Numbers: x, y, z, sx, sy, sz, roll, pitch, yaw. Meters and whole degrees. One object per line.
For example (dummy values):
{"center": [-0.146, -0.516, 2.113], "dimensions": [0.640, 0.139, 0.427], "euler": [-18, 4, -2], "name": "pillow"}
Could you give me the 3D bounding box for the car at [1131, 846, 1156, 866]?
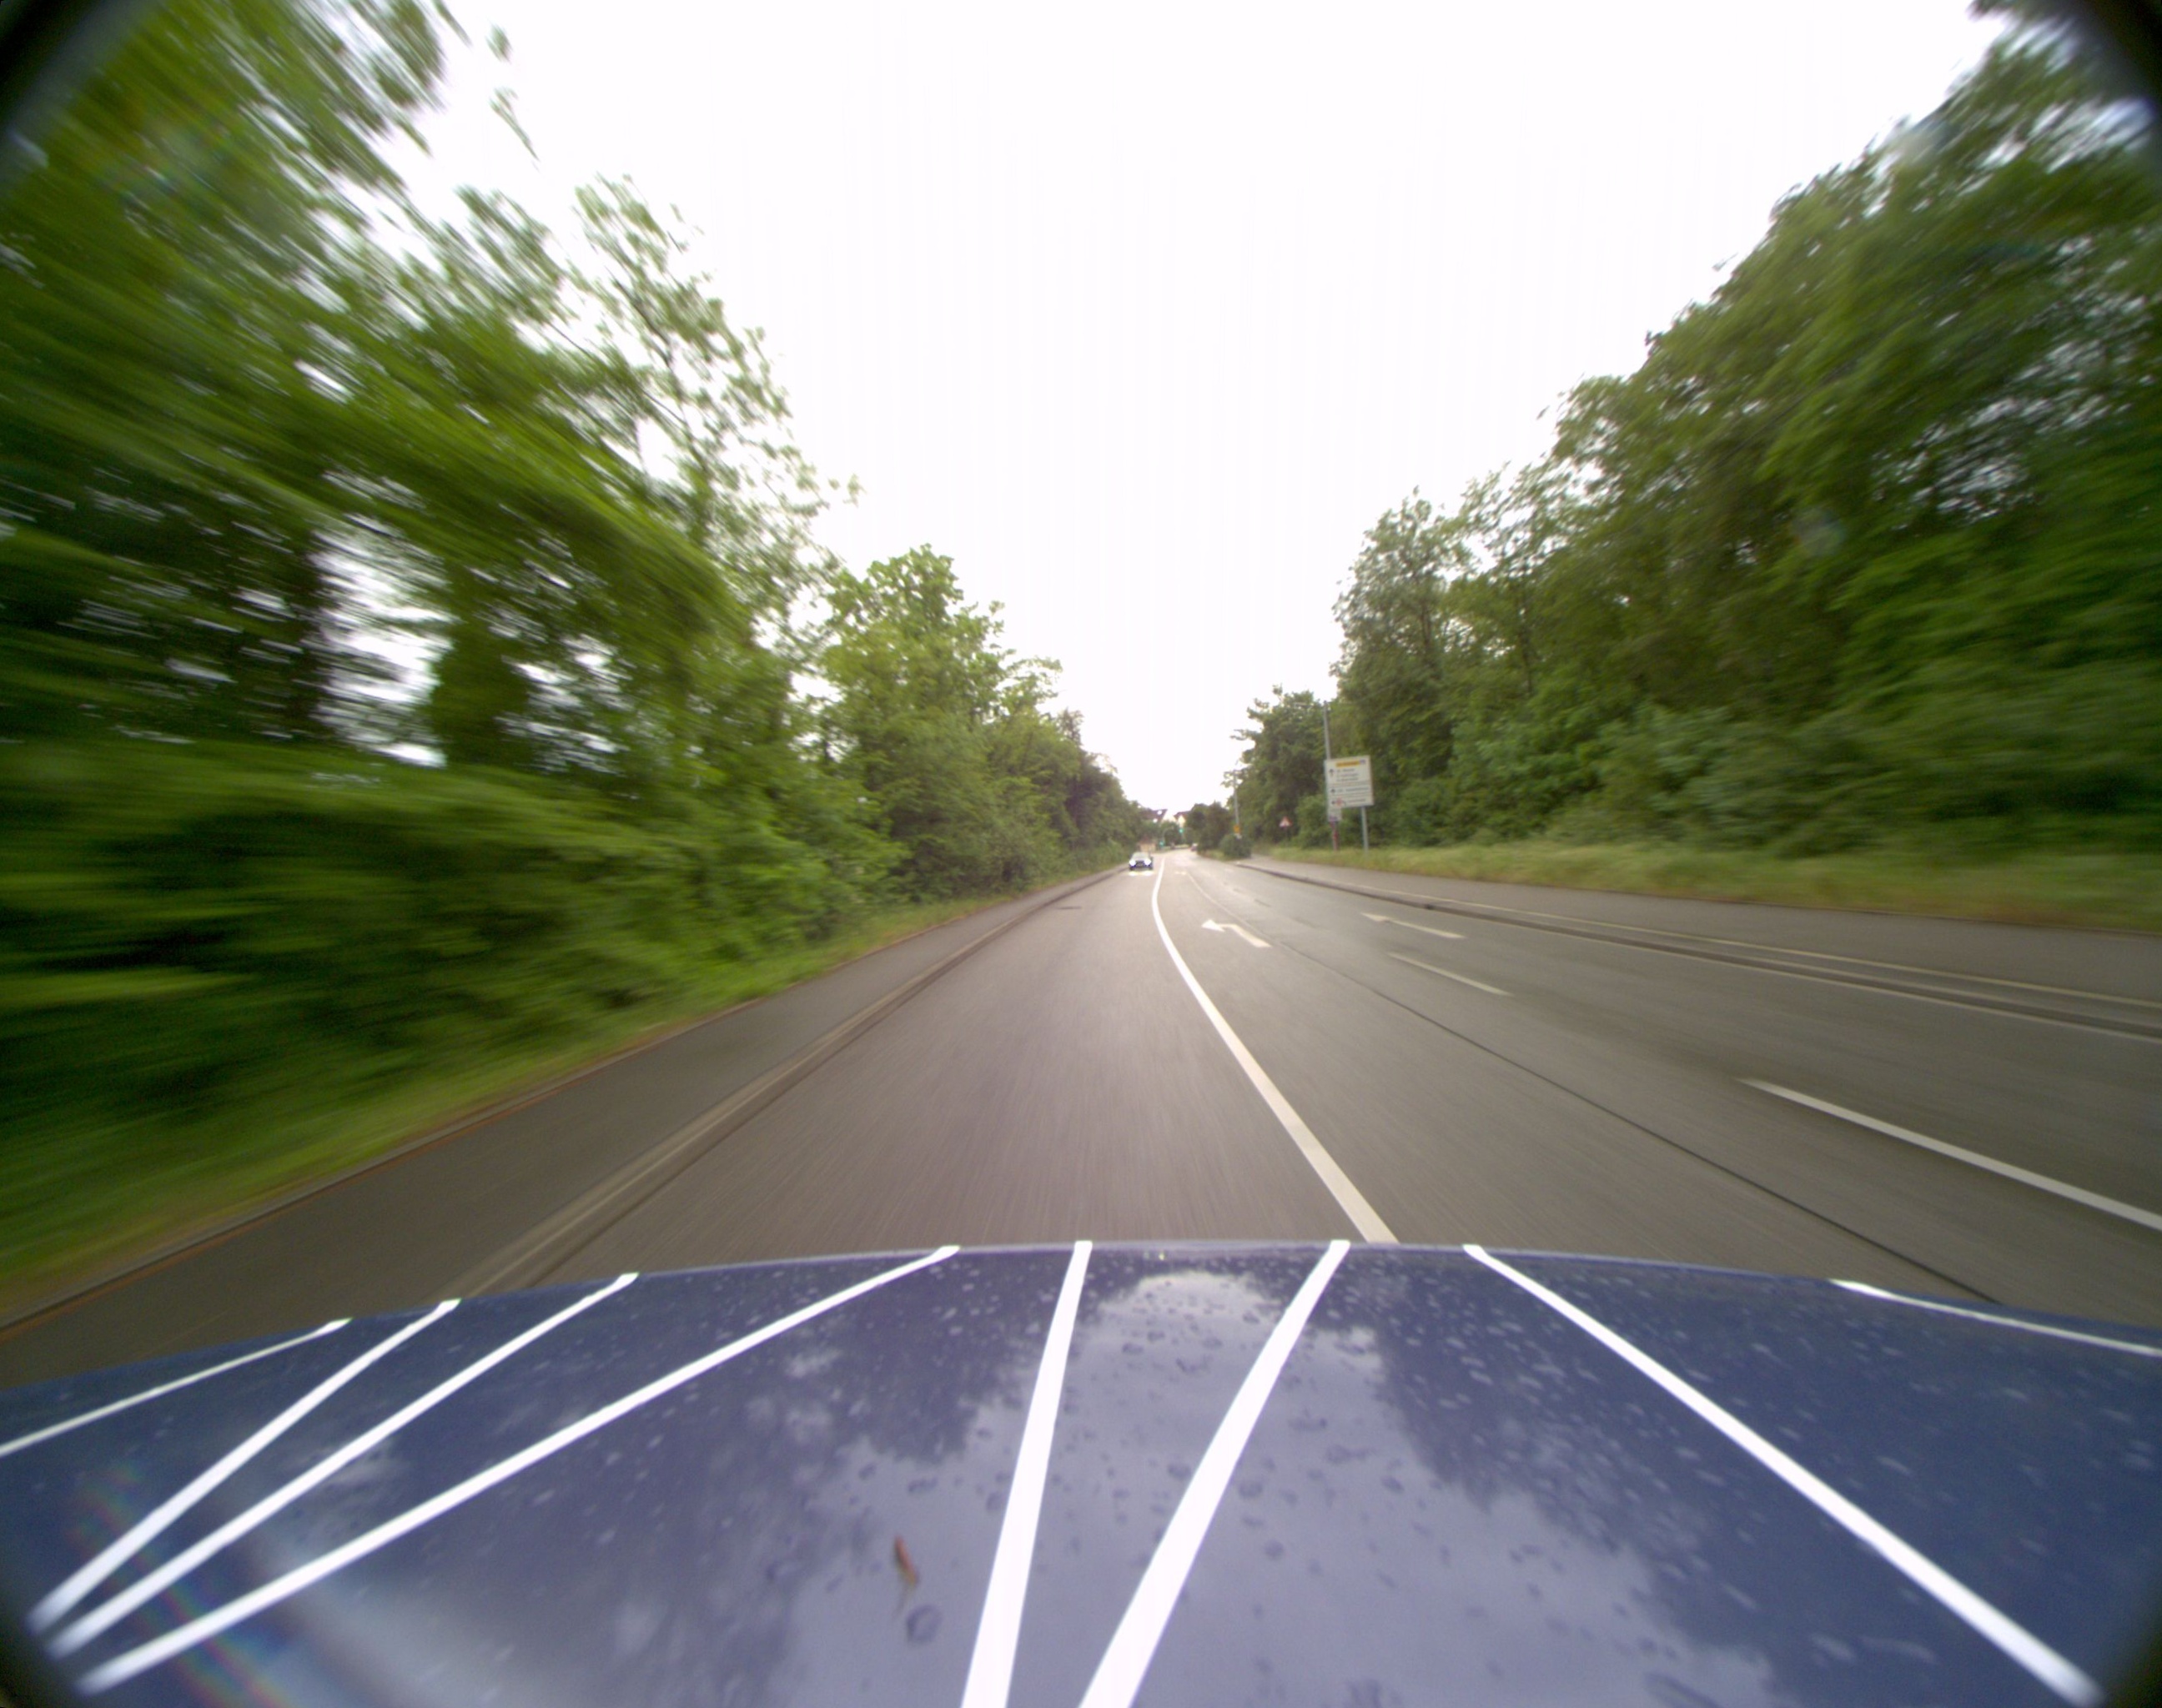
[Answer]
{"center": [5.040, 0.178, 61.404], "dimensions": [1.831, 1.511, 4.001], "euler": [1, -1, 2], "name": "car"}
